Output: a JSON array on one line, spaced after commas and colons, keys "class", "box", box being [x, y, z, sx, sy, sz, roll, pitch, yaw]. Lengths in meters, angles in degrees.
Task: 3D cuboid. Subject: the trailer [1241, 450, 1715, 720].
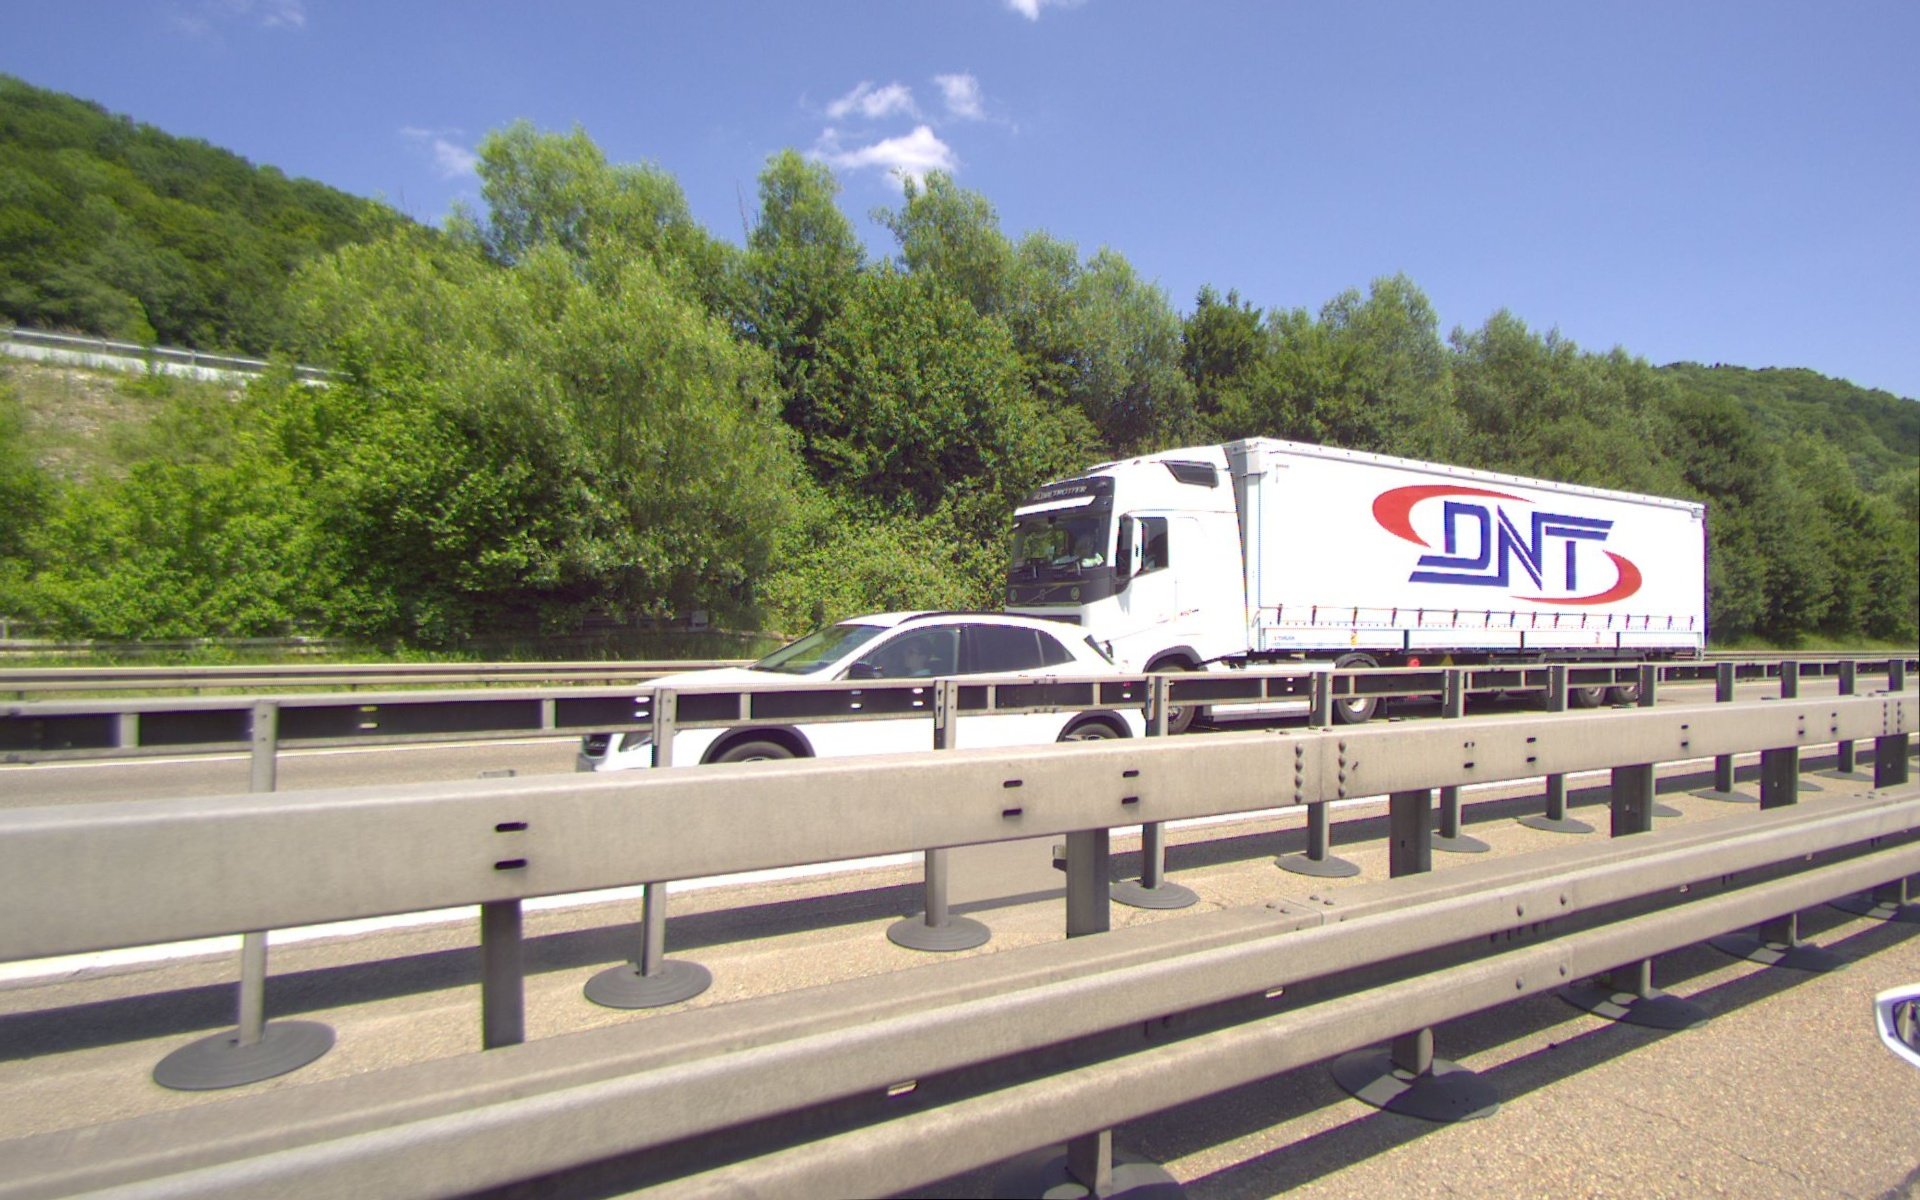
[{"class": "trailer", "box": [10.468, -0.099, 19.523, 11.135, 4.130, 2.842, 1, -1, -31]}]

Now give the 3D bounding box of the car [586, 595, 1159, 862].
[{"class": "car", "box": [-0.585, 0.780, 7.575, 3.954, 1.539, 1.738, 1, 0, -31]}]

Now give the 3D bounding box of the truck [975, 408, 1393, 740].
[{"class": "truck", "box": [3.461, -0.270, 15.315, 5.780, 4.156, 2.895, 1, 0, -31]}]
